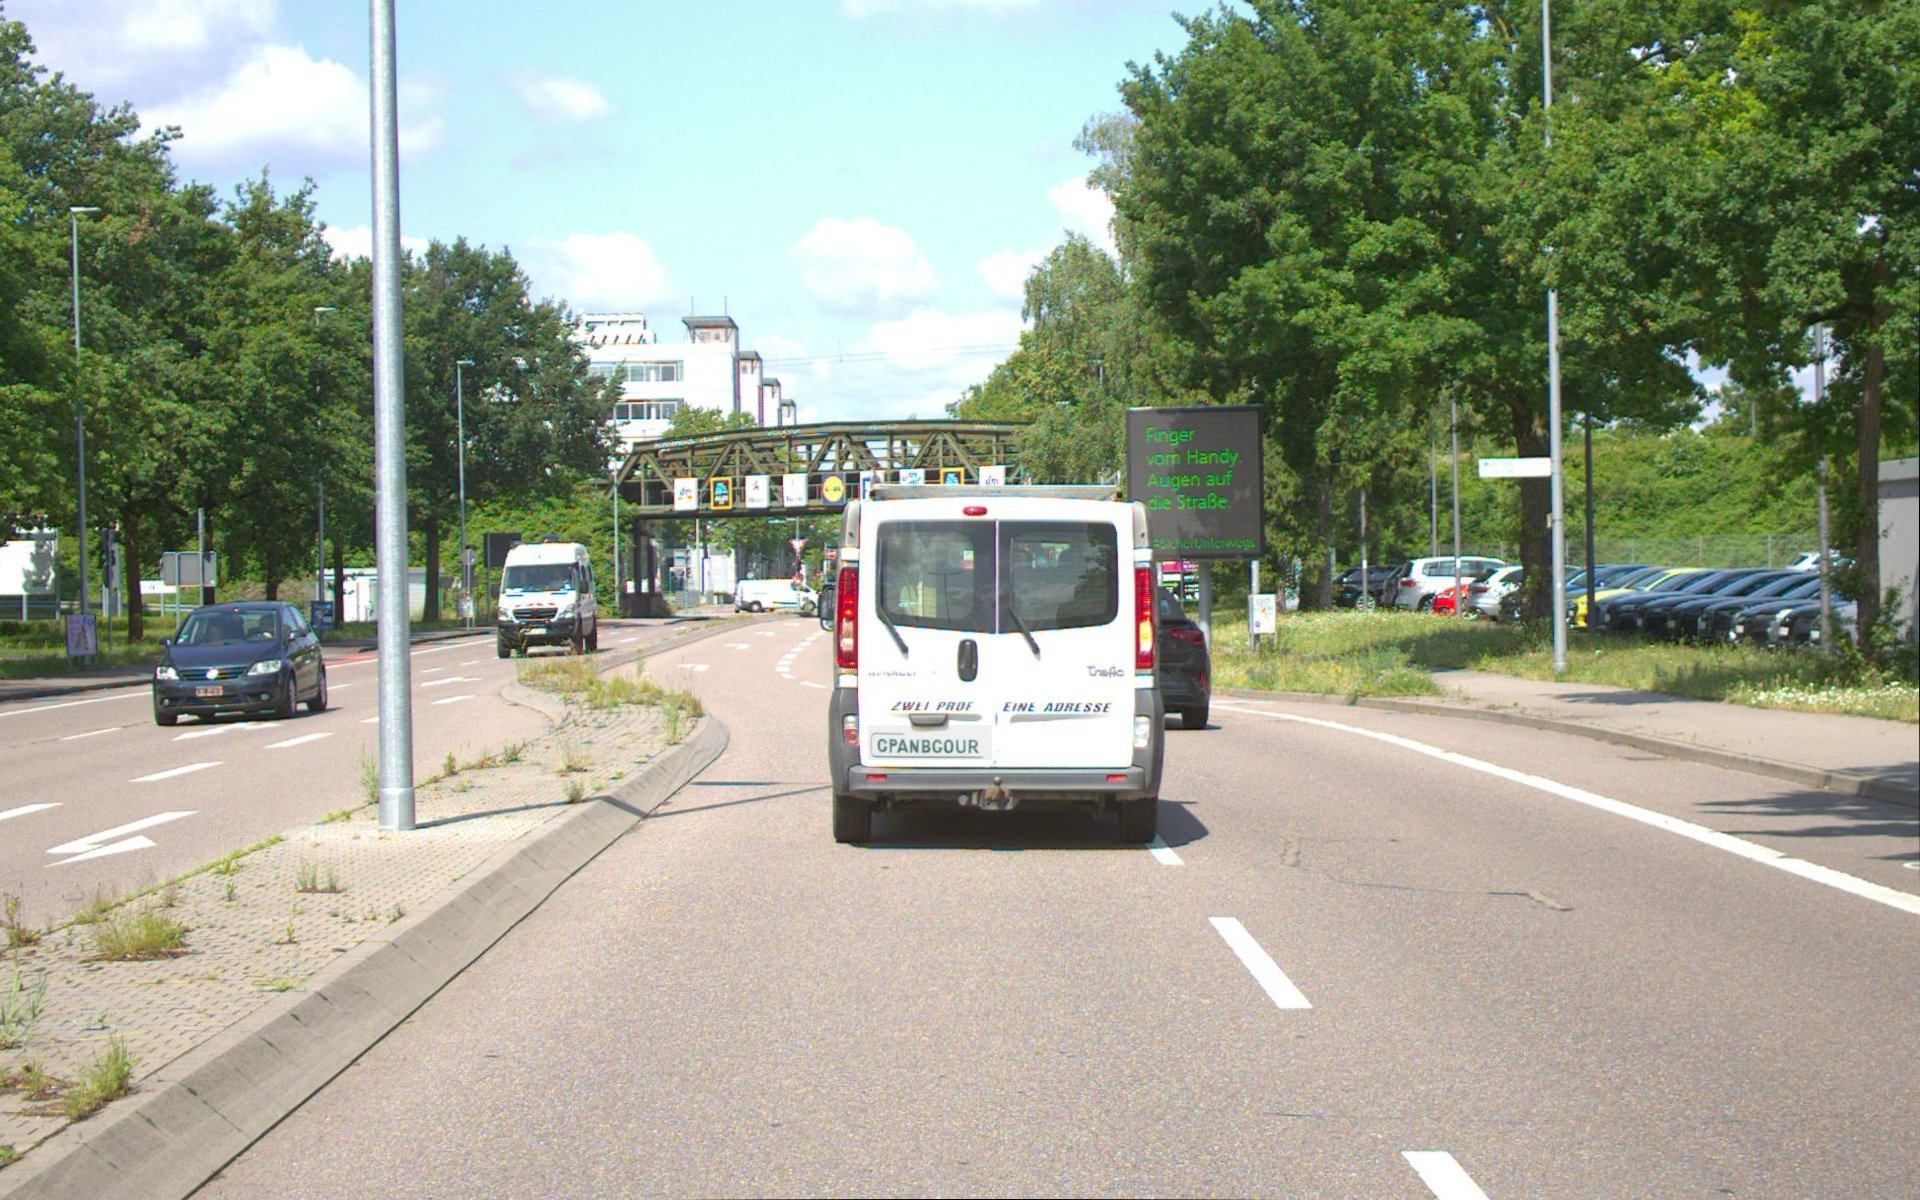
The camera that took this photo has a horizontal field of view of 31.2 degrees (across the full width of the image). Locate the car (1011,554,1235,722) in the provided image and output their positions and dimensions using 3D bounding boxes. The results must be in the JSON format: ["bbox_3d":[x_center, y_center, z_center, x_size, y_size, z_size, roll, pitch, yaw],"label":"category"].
[{"bbox_3d":[1.682,0.358,36.790,1.773,1.623,4.001,0,2,-6],"label":"car"}]

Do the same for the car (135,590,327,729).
[{"bbox_3d":[-9.578,0.747,45.462,1.738,1.604,4.242,-4,1,-3],"label":"car"}]

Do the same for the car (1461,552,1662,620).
[{"bbox_3d":[14.155,-0.336,81.081,4.354,1.507,1.936,0,2,-2],"label":"car"}]

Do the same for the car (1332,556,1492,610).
[{"bbox_3d":[13.140,-0.505,100.079,4.354,1.507,1.936,0,2,-2],"label":"car"}]

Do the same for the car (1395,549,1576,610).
[{"bbox_3d":[13.629,-0.545,89.326,4.354,1.507,1.936,0,2,-2],"label":"car"}]

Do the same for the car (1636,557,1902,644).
[{"bbox_3d":[14.762,0.003,62.898,4.354,1.507,1.936,0,2,-2],"label":"car"}]

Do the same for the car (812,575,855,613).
[{"bbox_3d":[-6.302,-0.311,171.770,1.993,1.765,4.000,0,2,0],"label":"car"}]

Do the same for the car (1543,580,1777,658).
[{"bbox_3d":[14.279,0.379,70.293,4.354,1.507,1.936,0,2,-2],"label":"car"}]

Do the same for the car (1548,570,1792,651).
[{"bbox_3d":[13.941,0.202,67.658,4.354,1.507,1.936,0,2,-2],"label":"car"}]

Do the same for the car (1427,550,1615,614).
[{"bbox_3d":[14.058,-0.461,86.336,4.354,1.507,1.936,0,2,-2],"label":"car"}]

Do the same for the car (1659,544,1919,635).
[{"bbox_3d":[14.623,-0.193,60.142,4.354,1.507,1.936,0,2,-2],"label":"car"}]

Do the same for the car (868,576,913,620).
[{"bbox_3d":[-3.245,-0.094,160.988,1.993,2.007,4.000,-1,0,0],"label":"car"}]

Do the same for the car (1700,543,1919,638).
[{"bbox_3d":[14.755,-0.175,57.377,4.354,1.507,1.936,0,2,-2],"label":"car"}]

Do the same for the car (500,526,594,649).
[{"bbox_3d":[-10.148,-0.312,84.823,2.022,2.883,6.383,-1,0,-5],"label":"car"}]

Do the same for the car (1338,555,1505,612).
[{"bbox_3d":[12.895,-0.472,96.251,4.354,1.507,1.936,0,2,-2],"label":"car"}]

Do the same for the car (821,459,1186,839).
[{"bbox_3d":[0.227,0.201,20.930,1.973,2.053,4.565,0,2,0],"label":"car"}]

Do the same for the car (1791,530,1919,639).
[{"bbox_3d":[14.473,-0.238,49.816,4.354,1.507,1.936,0,2,-2],"label":"car"}]

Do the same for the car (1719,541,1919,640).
[{"bbox_3d":[14.522,-0.163,54.841,4.354,1.507,1.936,0,2,-2],"label":"car"}]
